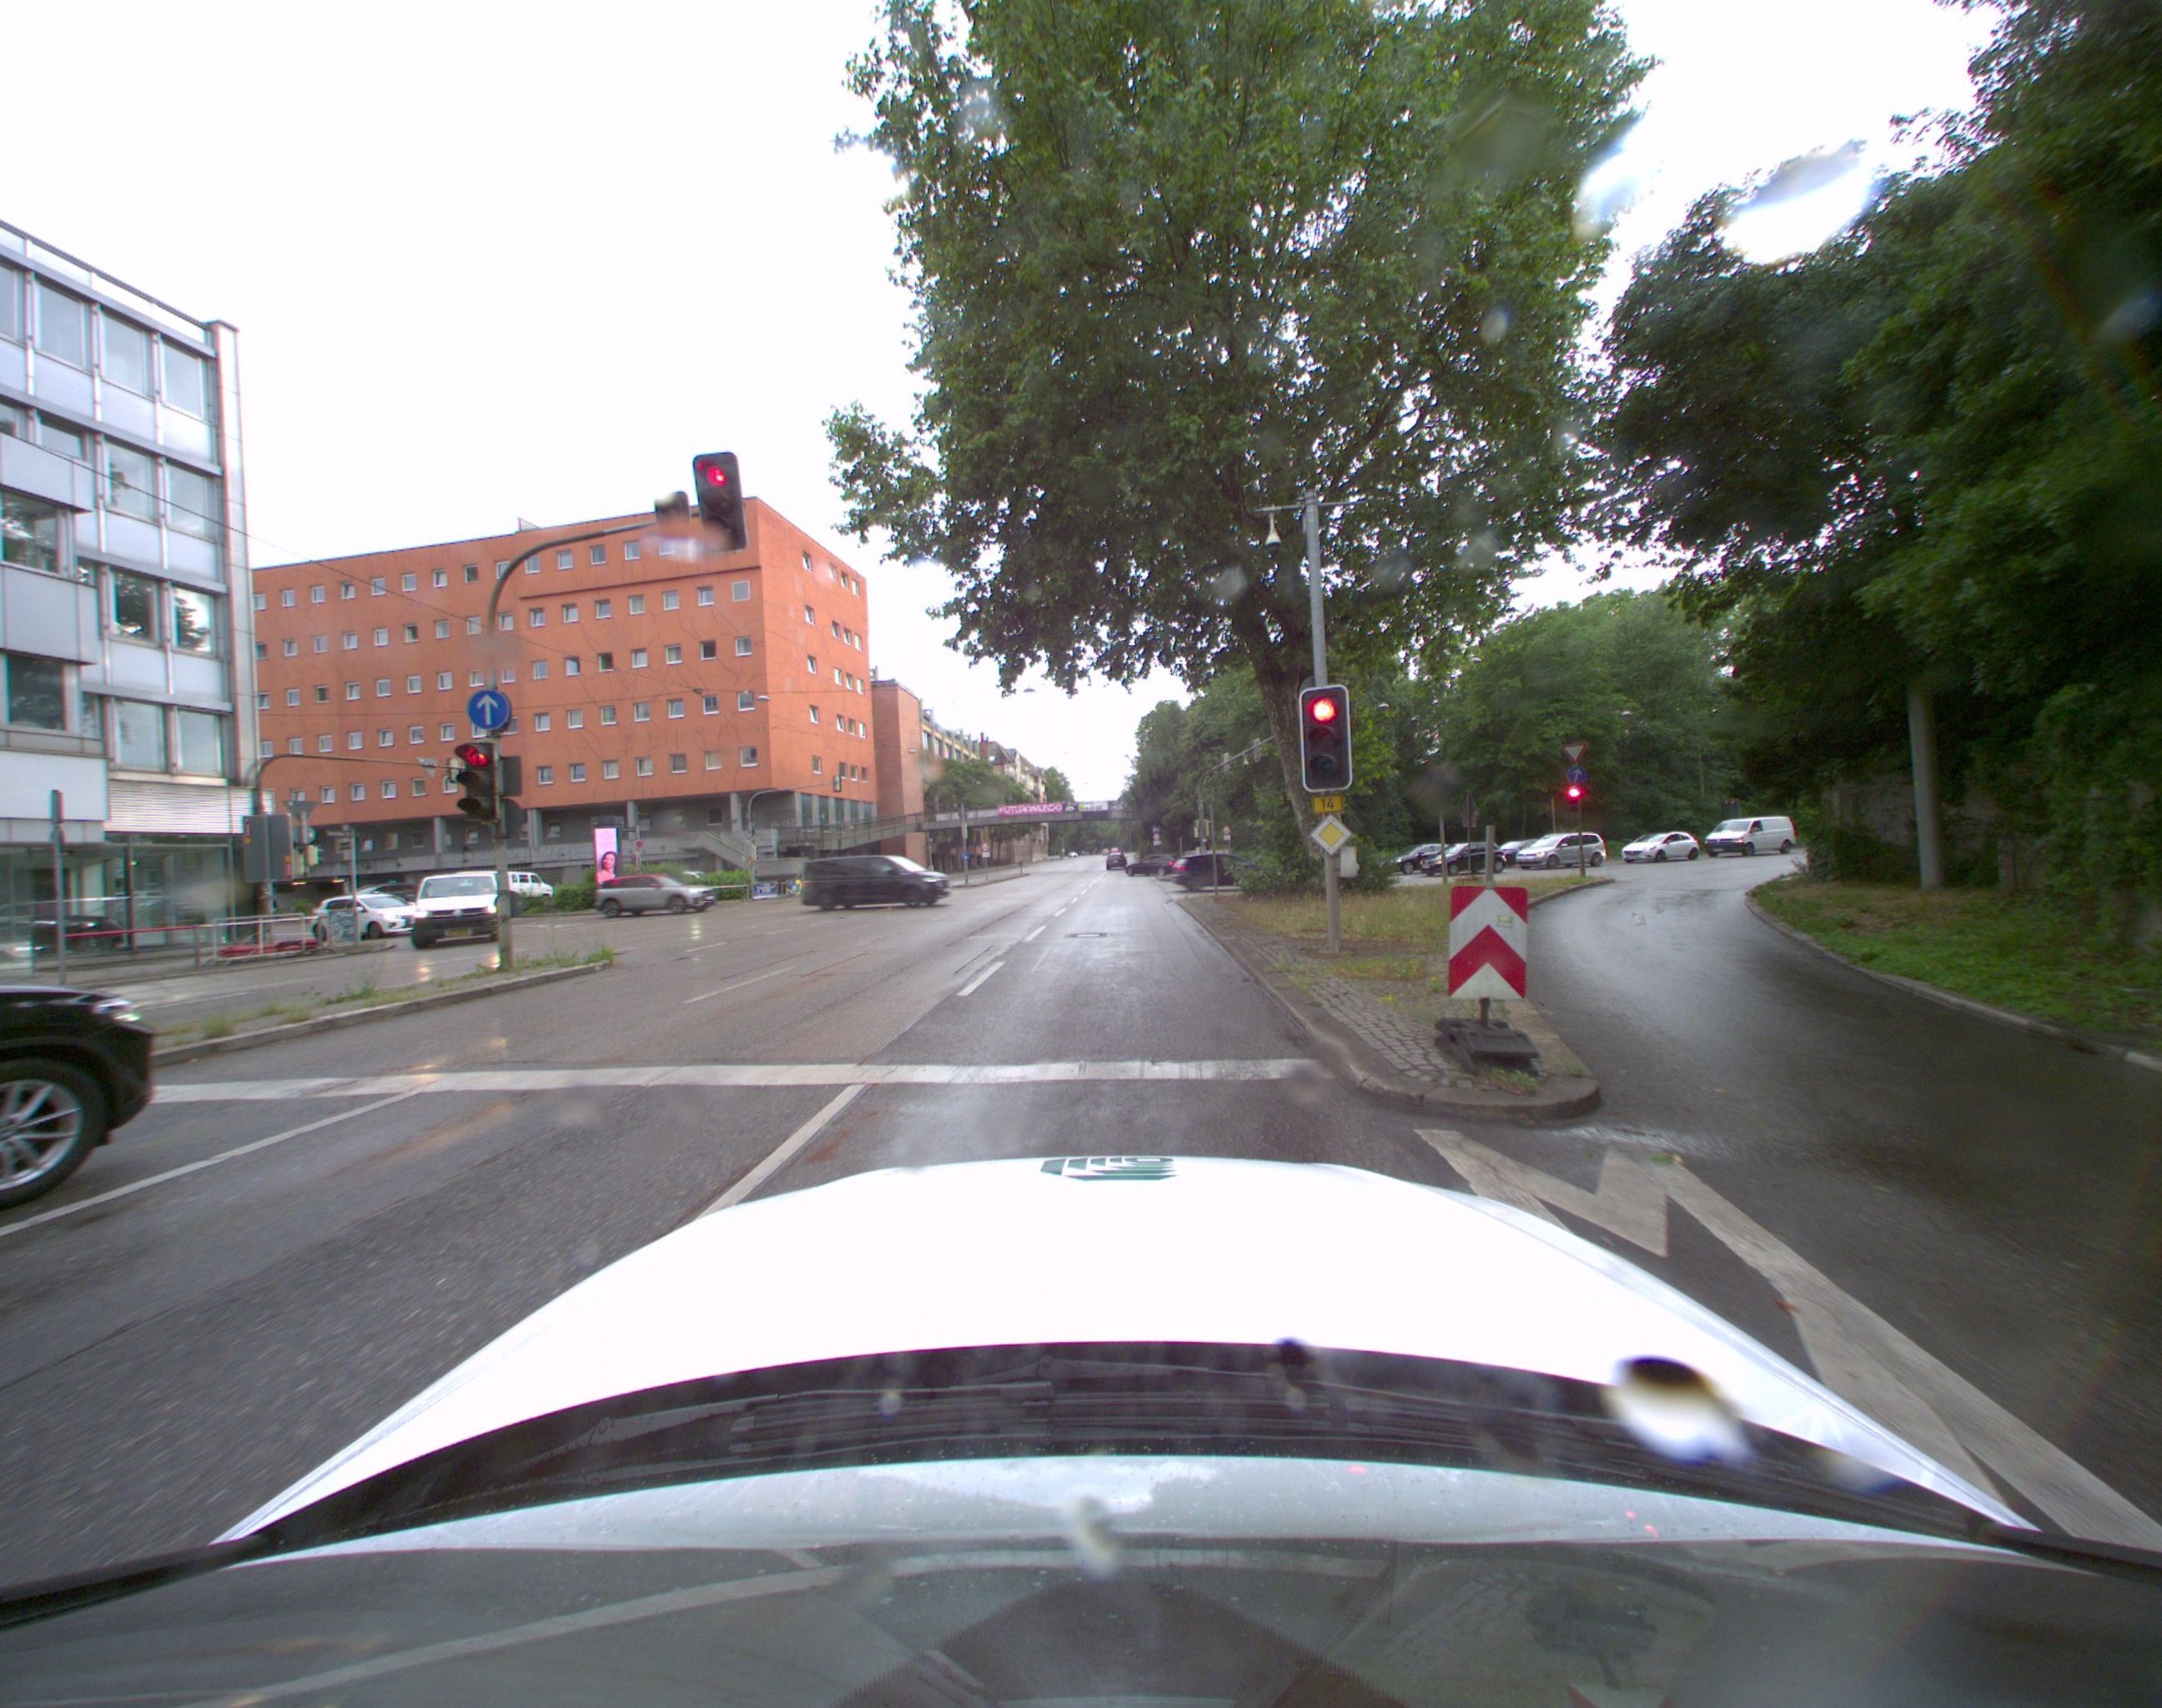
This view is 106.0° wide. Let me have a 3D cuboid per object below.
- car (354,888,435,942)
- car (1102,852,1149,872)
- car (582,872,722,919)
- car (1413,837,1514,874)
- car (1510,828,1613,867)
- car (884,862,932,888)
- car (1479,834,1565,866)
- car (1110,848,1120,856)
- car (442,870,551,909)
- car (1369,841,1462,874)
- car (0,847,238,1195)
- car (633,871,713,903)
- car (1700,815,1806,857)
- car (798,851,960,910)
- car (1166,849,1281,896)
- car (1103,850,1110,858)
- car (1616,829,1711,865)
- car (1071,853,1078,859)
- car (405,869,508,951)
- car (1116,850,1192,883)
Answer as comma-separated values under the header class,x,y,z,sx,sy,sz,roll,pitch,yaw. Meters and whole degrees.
class,x,y,z,sx,sy,sz,roll,pitch,yaw
car,-24.623,2.176,29.327,2.010,1.637,4.768,-4,-1,-39
car,3.841,0.705,71.212,1.887,1.637,4.481,-2,0,-30
car,-16.989,1.628,32.395,4.493,1.637,1.882,-2,0,2
car,17.211,0.079,36.695,3.859,1.485,1.665,-2,-1,-13
car,22.801,-0.289,38.641,4.272,1.486,1.763,-4,-1,-18
car,-11.138,1.348,52.713,1.986,1.519,4.002,-3,-1,2
car,22.740,-0.216,42.036,3.834,1.486,1.734,-3,0,-18
car,7.607,-0.416,183.440,2.114,1.734,4.197,-1,1,-1
car,-32.675,1.942,45.753,1.981,2.014,4.867,1,0,11
car,16.621,0.163,40.544,3.998,1.486,1.867,-2,-1,-18
car,-6.062,0.812,2.461,1.939,1.597,4.675,-1,1,4
car,-25.439,2.033,50.820,3.988,1.618,1.900,-5,-1,11
car,34.962,-0.918,42.383,4.858,1.922,1.897,-3,0,-18
car,-7.043,0.913,28.679,5.049,1.846,2.004,-2,-1,7
car,5.529,0.719,31.828,4.124,1.446,1.584,-5,-1,-2
car,6.256,-0.025,199.874,1.757,1.697,3.707,-5,-1,2
car,29.078,-0.350,40.670,3.999,1.486,1.763,-4,-1,-18
car,-1.921,0.668,238.995,1.613,1.697,3.550,-4,-1,2
car,-17.547,1.546,23.094,2.009,1.932,5.155,-4,-1,-35
car,4.800,0.813,53.526,4.296,1.836,2.149,-5,-1,31
